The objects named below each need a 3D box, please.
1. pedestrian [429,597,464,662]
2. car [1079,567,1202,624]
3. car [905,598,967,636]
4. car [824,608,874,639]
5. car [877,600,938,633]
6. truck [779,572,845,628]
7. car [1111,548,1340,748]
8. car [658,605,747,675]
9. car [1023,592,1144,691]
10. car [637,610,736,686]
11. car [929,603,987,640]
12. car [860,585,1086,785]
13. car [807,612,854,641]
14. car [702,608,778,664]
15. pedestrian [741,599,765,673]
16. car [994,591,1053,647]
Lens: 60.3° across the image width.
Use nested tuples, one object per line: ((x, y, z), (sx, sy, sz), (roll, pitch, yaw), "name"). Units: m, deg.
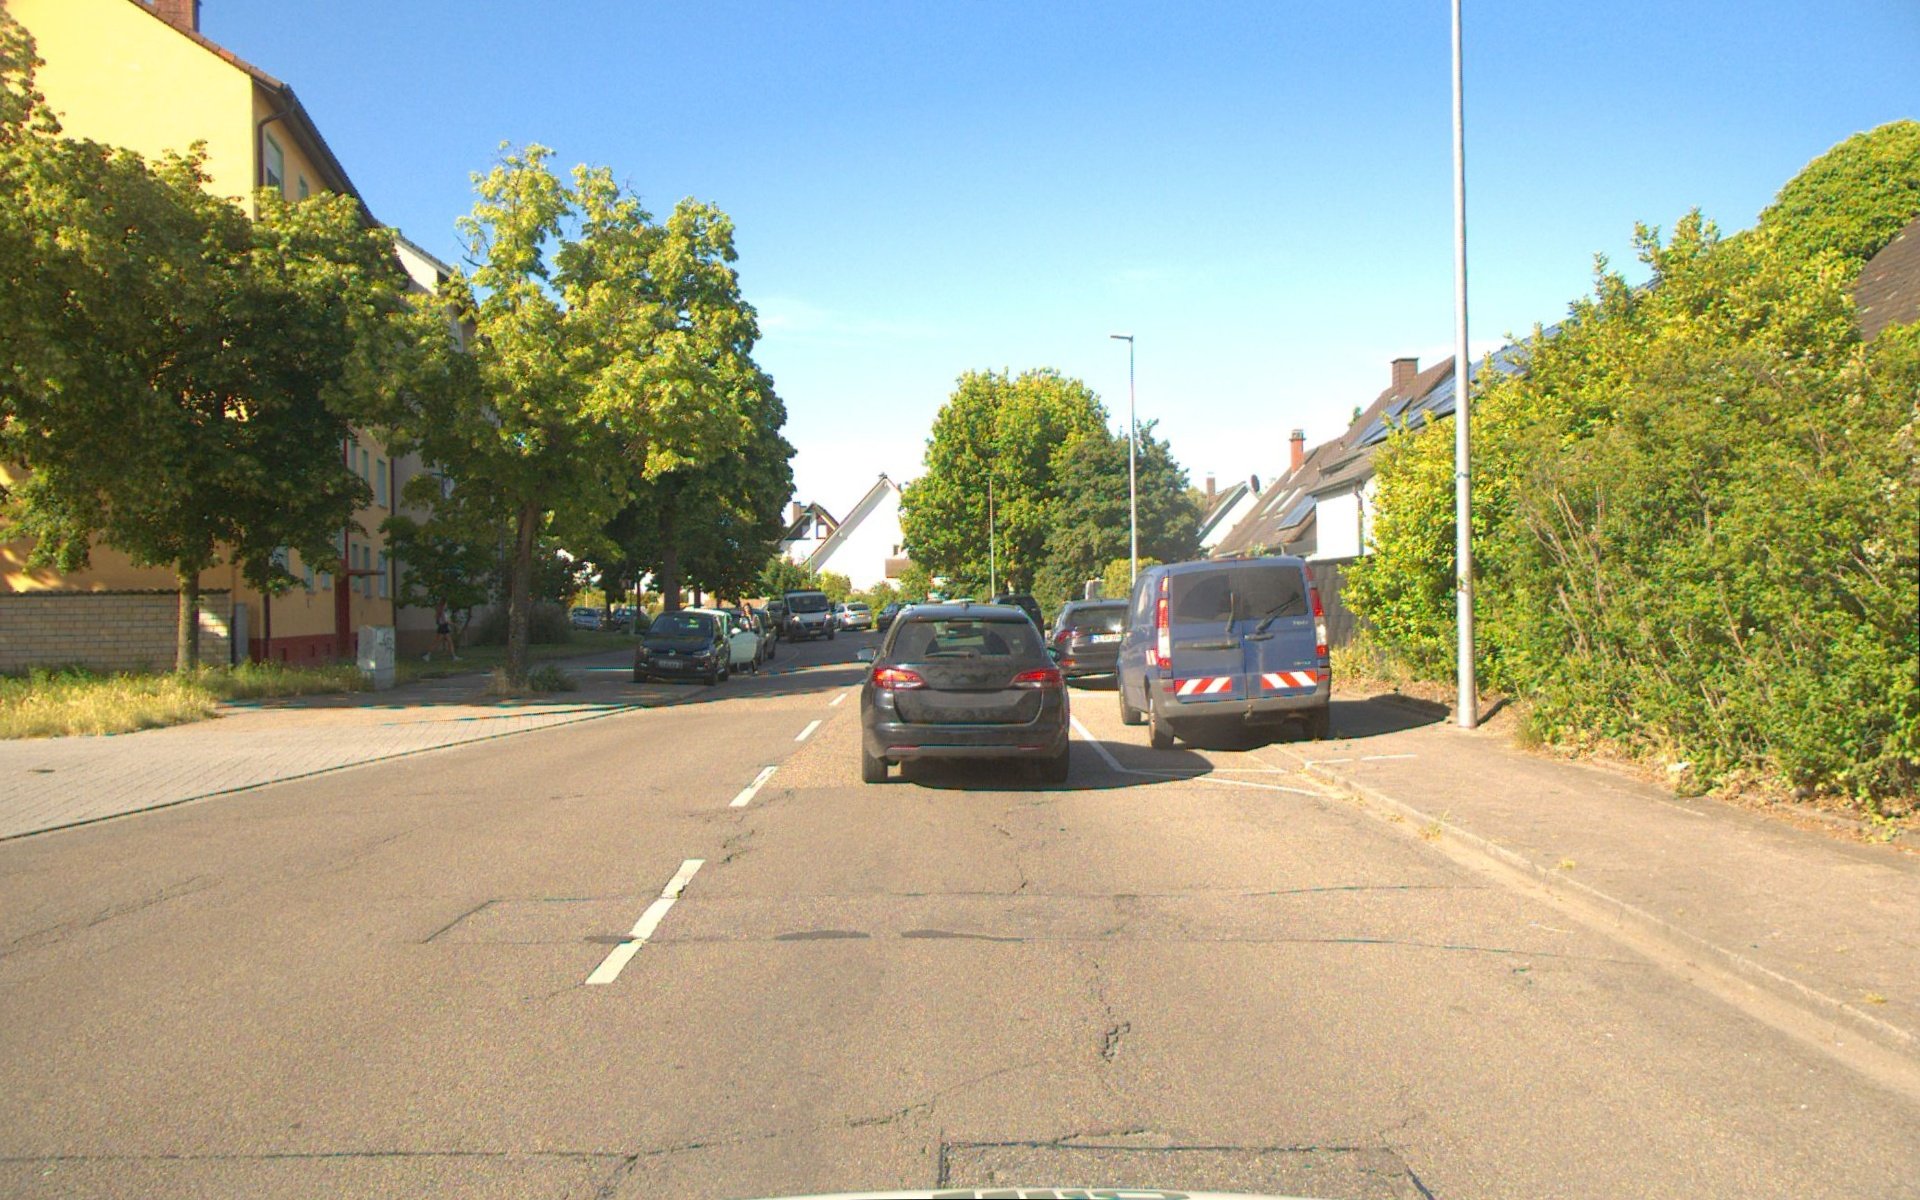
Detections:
((-14.048, 0.814, 45.250), (0.671, 1.748, 0.720), (-3, -2, -1), "pedestrian")
((7.196, -0.156, 66.316), (4.586, 2.018, 2.142), (-3, -1, -1), "car")
((-1.149, 0.790, 76.719), (1.879, 1.628, 4.278), (-3, -1, -14), "car")
((-6.119, 1.306, 90.906), (1.792, 1.561, 4.238), (-3, -1, -17), "car")
((-2.650, 0.846, 82.262), (1.974, 1.501, 4.274), (-3, -1, -16), "car")
((-6.751, -0.007, 76.145), (2.085, 2.375, 6.444), (-3, 0, 2), "truck")
((2.861, 0.475, 18.809), (1.799, 1.941, 4.697), (-2, 0, 0), "car")
((-6.269, 0.990, 40.636), (1.667, 1.549, 4.049), (-3, -1, -3), "car")
((2.121, 0.663, 29.680), (1.729, 1.506, 4.991), (-3, 0, 0), "car")
((-5.744, 1.009, 35.086), (1.667, 1.506, 4.048), (0, -2, -4), "car")
((-0.110, 0.956, 72.340), (1.729, 1.506, 4.282), (-3, 0, -11), "car")
((0.073, 0.681, 14.981), (1.726, 1.517, 4.290), (-1, -1, -1), "car")
((-7.542, 1.545, 95.823), (1.792, 1.561, 4.238), (-3, -1, -17), "car")
((-6.443, 1.025, 48.794), (1.623, 1.536, 4.000), (-1, 0, 1), "car")
((-5.152, 0.905, 41.162), (0.494, 1.792, 0.694), (-2, -2, -4), "pedestrian")
((2.139, 0.647, 56.368), (1.742, 1.754, 4.293), (-3, 0, 0), "car")
